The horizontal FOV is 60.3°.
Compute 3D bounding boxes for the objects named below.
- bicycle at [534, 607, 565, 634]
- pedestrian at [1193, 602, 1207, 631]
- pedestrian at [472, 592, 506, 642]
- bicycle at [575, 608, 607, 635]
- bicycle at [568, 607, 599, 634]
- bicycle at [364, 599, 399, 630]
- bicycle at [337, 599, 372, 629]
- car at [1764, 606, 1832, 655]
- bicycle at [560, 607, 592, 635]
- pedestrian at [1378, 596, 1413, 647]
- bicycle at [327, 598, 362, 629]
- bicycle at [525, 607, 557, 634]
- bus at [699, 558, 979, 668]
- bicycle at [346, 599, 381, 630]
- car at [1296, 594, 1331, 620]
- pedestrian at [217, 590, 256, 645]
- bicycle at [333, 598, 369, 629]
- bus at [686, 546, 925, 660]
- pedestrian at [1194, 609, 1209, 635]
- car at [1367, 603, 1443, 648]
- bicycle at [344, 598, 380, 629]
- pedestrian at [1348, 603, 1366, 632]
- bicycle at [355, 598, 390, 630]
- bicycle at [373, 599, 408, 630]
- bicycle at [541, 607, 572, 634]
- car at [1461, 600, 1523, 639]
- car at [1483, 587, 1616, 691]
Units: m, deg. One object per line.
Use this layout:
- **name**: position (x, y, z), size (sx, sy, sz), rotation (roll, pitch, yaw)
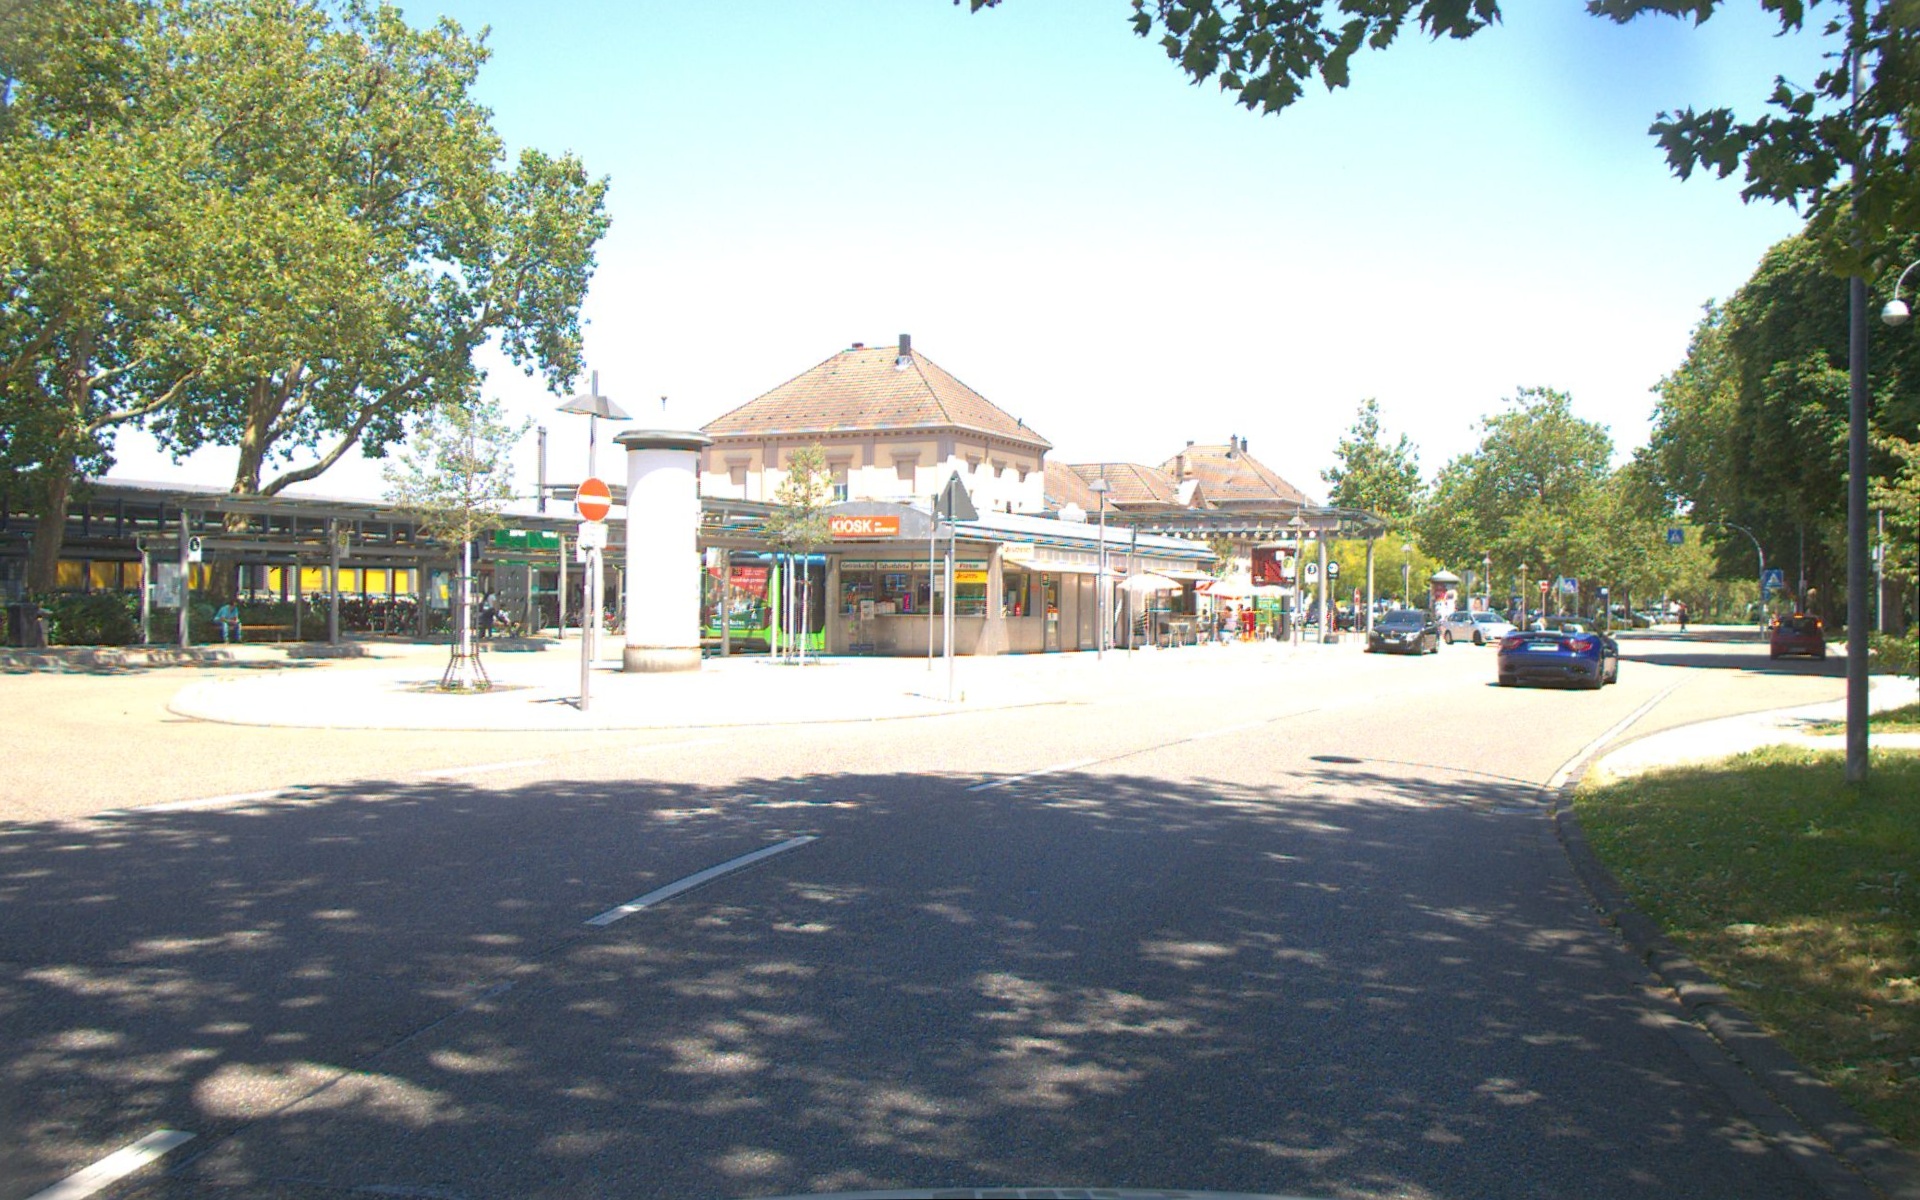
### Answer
- **bicycle**: position (-17.119, 0.844, 68.901), size (1.355, 1.113, 0.385), rotation (0, 0, 29)
- **pedestrian**: position (14.314, 0.998, 98.616), size (0.645, 1.703, 0.628), rotation (2, -2, -19)
- **pedestrian**: position (-15.579, 0.564, 54.687), size (0.801, 1.646, 0.769), rotation (1, -1, 8)
- **bicycle**: position (-15.396, 0.894, 69.005), size (1.355, 1.113, 0.385), rotation (0, 0, 29)
- **bicycle**: position (-15.624, 0.861, 68.597), size (1.355, 1.113, 0.385), rotation (0, 0, 29)
- **bicycle**: position (-21.161, 0.524, 60.489), size (1.355, 1.113, 0.385), rotation (0, -2, 28)
- **bicycle**: position (-22.405, 0.521, 61.155), size (1.355, 1.113, 0.385), rotation (0, -2, 29)
- **car**: position (27.161, 0.970, 53.685), size (1.684, 1.504, 3.705), rotation (0, -1, 23)
- **bicycle**: position (-15.835, 0.859, 68.193), size (1.355, 1.113, 0.385), rotation (0, 0, 29)
- **pedestrian**: position (15.953, 0.793, 60.636), size (0.788, 1.860, 1.134), rotation (-1, -3, 43)
- **bicycle**: position (-22.615, 0.506, 60.779), size (1.355, 1.113, 0.385), rotation (0, -2, 29)
- **bicycle**: position (-17.353, 0.834, 68.478), size (1.355, 1.113, 0.385), rotation (0, 0, 29)
- **bus**: position (-3.419, 0.451, 53.483), size (2.621, 3.094, 13.882), rotation (0, -1, 25)
- **bicycle**: position (-22.205, 0.537, 61.533), size (1.355, 1.113, 0.385), rotation (0, -2, 29)
- **car**: position (28.530, 0.527, 133.471), size (1.954, 2.049, 3.998), rotation (0, 1, 24)
- **pedestrian**: position (-20.098, 0.478, 45.946), size (0.593, 1.489, 0.821), rotation (0, 0, 24)
- **bicycle**: position (-21.844, 0.475, 59.339), size (1.355, 1.113, 0.385), rotation (0, -2, 29)
- **bus**: position (-5.035, 0.119, 57.828), size (2.120, 3.588, 12.209), rotation (1, 0, 27)
- **pedestrian**: position (9.281, 0.849, 63.618), size (0.418, 0.989, 0.370), rotation (-1, -3, 40)
- **car**: position (15.336, 0.860, 56.852), size (1.685, 1.504, 4.782), rotation (0, -1, 25)
- **bicycle**: position (-21.588, 0.492, 59.728), size (1.355, 1.113, 0.385), rotation (0, -2, 29)
- **pedestrian**: position (23.188, 1.015, 96.611), size (0.750, 1.688, 0.716), rotation (-1, -3, 44)
- **bicycle**: position (-21.358, 0.509, 60.132), size (1.355, 1.113, 0.385), rotation (0, -2, 29)
- **bicycle**: position (-20.969, 0.539, 60.856), size (1.355, 1.113, 0.385), rotation (0, -2, 29)
- **bicycle**: position (-16.901, 0.842, 69.299), size (1.355, 1.113, 0.385), rotation (0, 0, 29)
- **car**: position (22.208, 0.809, 68.968), size (1.780, 1.469, 4.153), rotation (-3, -1, 27)
- **car**: position (11.635, 0.733, 32.502), size (2.083, 1.881, 4.045), rotation (1, 0, 25)
